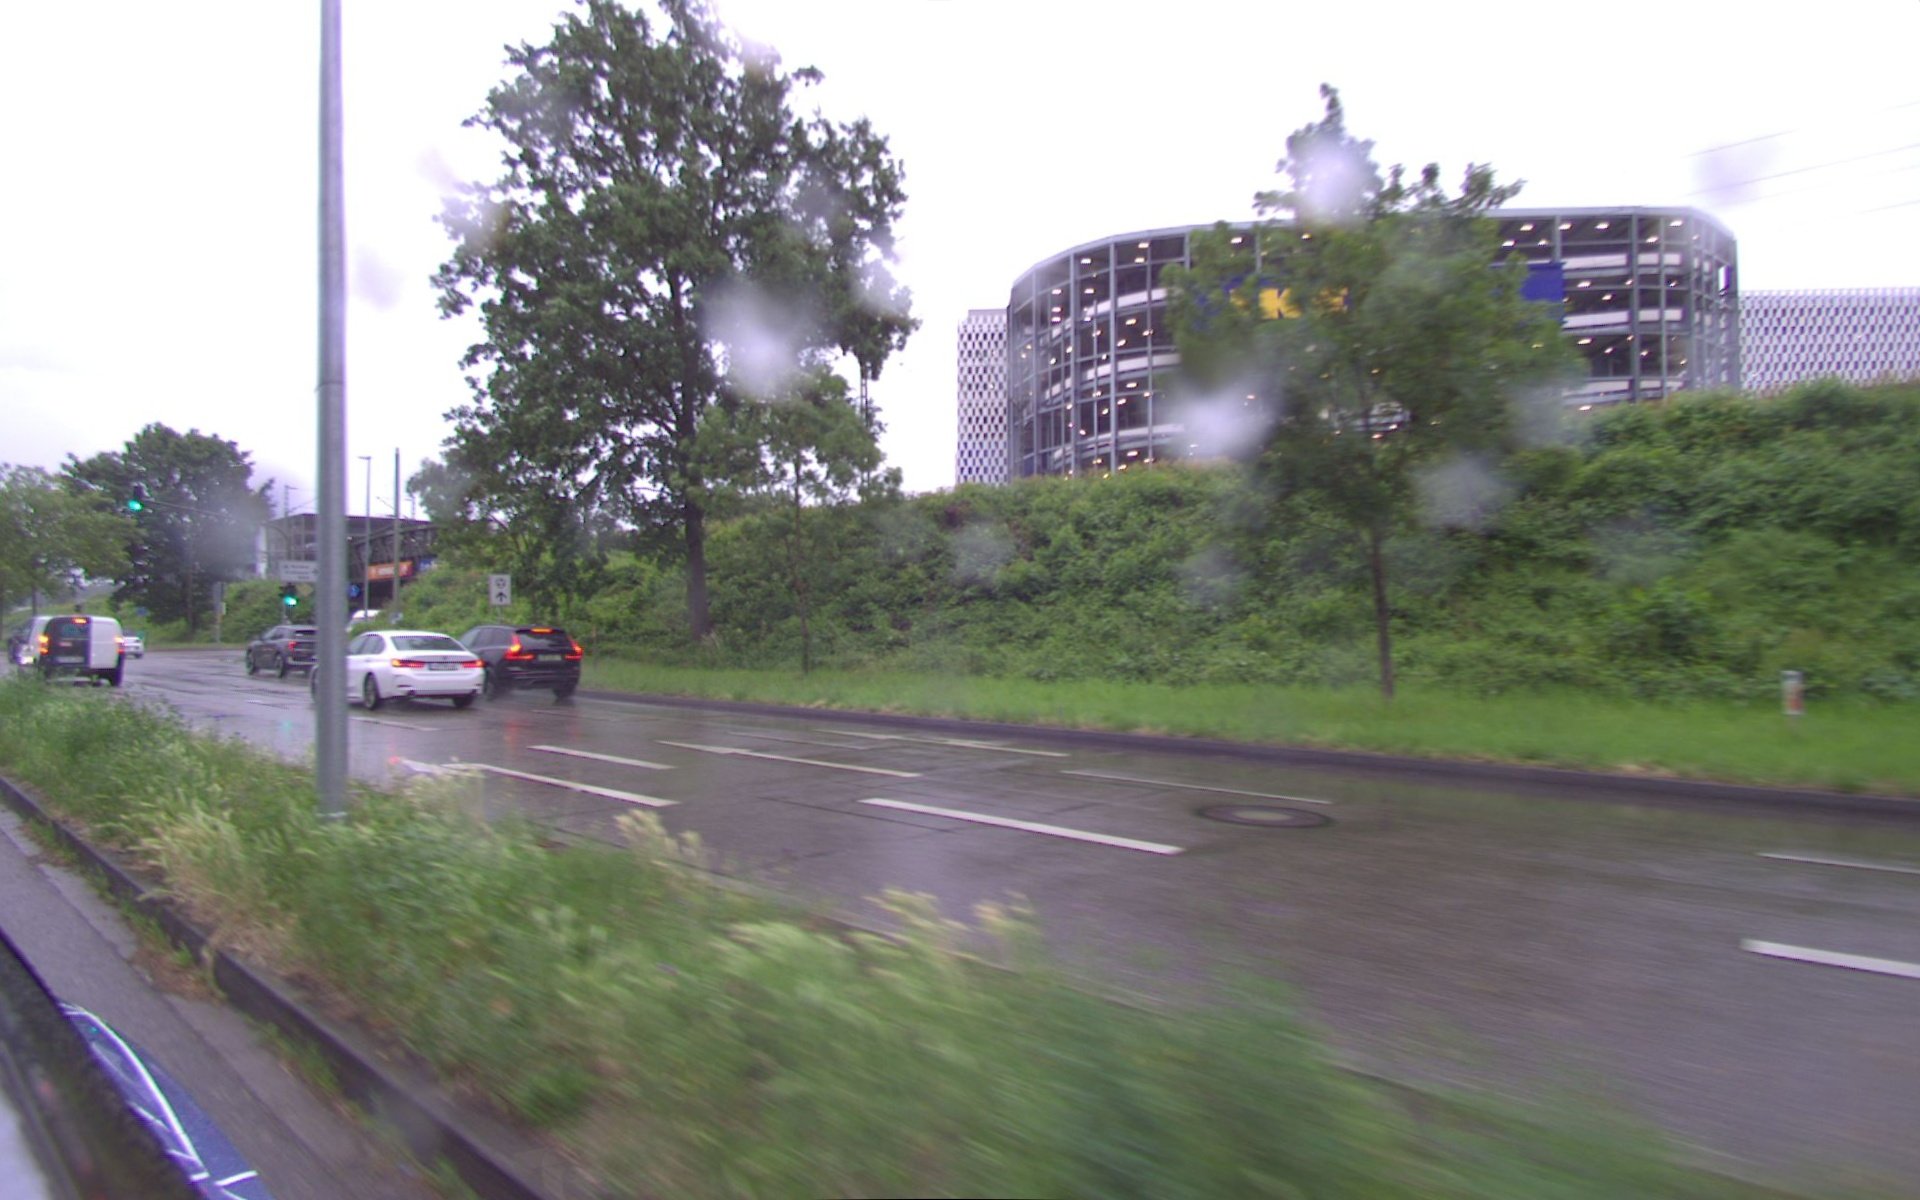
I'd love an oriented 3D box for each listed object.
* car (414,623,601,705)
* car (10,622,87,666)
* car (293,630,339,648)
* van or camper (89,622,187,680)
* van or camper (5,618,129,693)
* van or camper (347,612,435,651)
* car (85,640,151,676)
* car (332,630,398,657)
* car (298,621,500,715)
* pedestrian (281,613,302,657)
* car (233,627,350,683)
[{"bbox_3d":[-10.289,1.373,22.874,4.675,1.673,2.017,-1,-3,40],"label":"car"},{"bbox_3d":[-34.737,1.647,38.542,3.772,1.573,1.757,-1,-1,41],"label":"car"},{"bbox_3d":[-48.608,2.929,76.497,1.667,1.358,3.476,1,-2,-9],"label":"car"},{"bbox_3d":[-27.347,1.670,33.639,4.217,1.798,1.683,-1,-3,40],"label":"van or camper"},{"bbox_3d":[-22.688,1.374,25.672,3.996,1.755,1.711,-1,-4,40],"label":"van or camper"},{"bbox_3d":[-41.189,2.281,73.495,1.975,2.682,6.917,0,-2,5],"label":"van or camper"},{"bbox_3d":[-38.650,2.628,46.432,3.784,1.555,1.655,-1,-3,40],"label":"car"},{"bbox_3d":[-36.827,2.683,62.744,1.635,1.614,3.556,0,-2,9],"label":"car"},{"bbox_3d":[-11.028,1.269,19.749,4.708,1.625,1.879,-1,-4,41],"label":"car"},{"bbox_3d":[-27.250,1.416,41.242,0.625,1.801,0.480,-1,-2,33],"label":"pedestrian"},{"bbox_3d":[-21.130,1.685,31.949,4.402,1.625,1.879,-1,-2,40],"label":"car"}]
